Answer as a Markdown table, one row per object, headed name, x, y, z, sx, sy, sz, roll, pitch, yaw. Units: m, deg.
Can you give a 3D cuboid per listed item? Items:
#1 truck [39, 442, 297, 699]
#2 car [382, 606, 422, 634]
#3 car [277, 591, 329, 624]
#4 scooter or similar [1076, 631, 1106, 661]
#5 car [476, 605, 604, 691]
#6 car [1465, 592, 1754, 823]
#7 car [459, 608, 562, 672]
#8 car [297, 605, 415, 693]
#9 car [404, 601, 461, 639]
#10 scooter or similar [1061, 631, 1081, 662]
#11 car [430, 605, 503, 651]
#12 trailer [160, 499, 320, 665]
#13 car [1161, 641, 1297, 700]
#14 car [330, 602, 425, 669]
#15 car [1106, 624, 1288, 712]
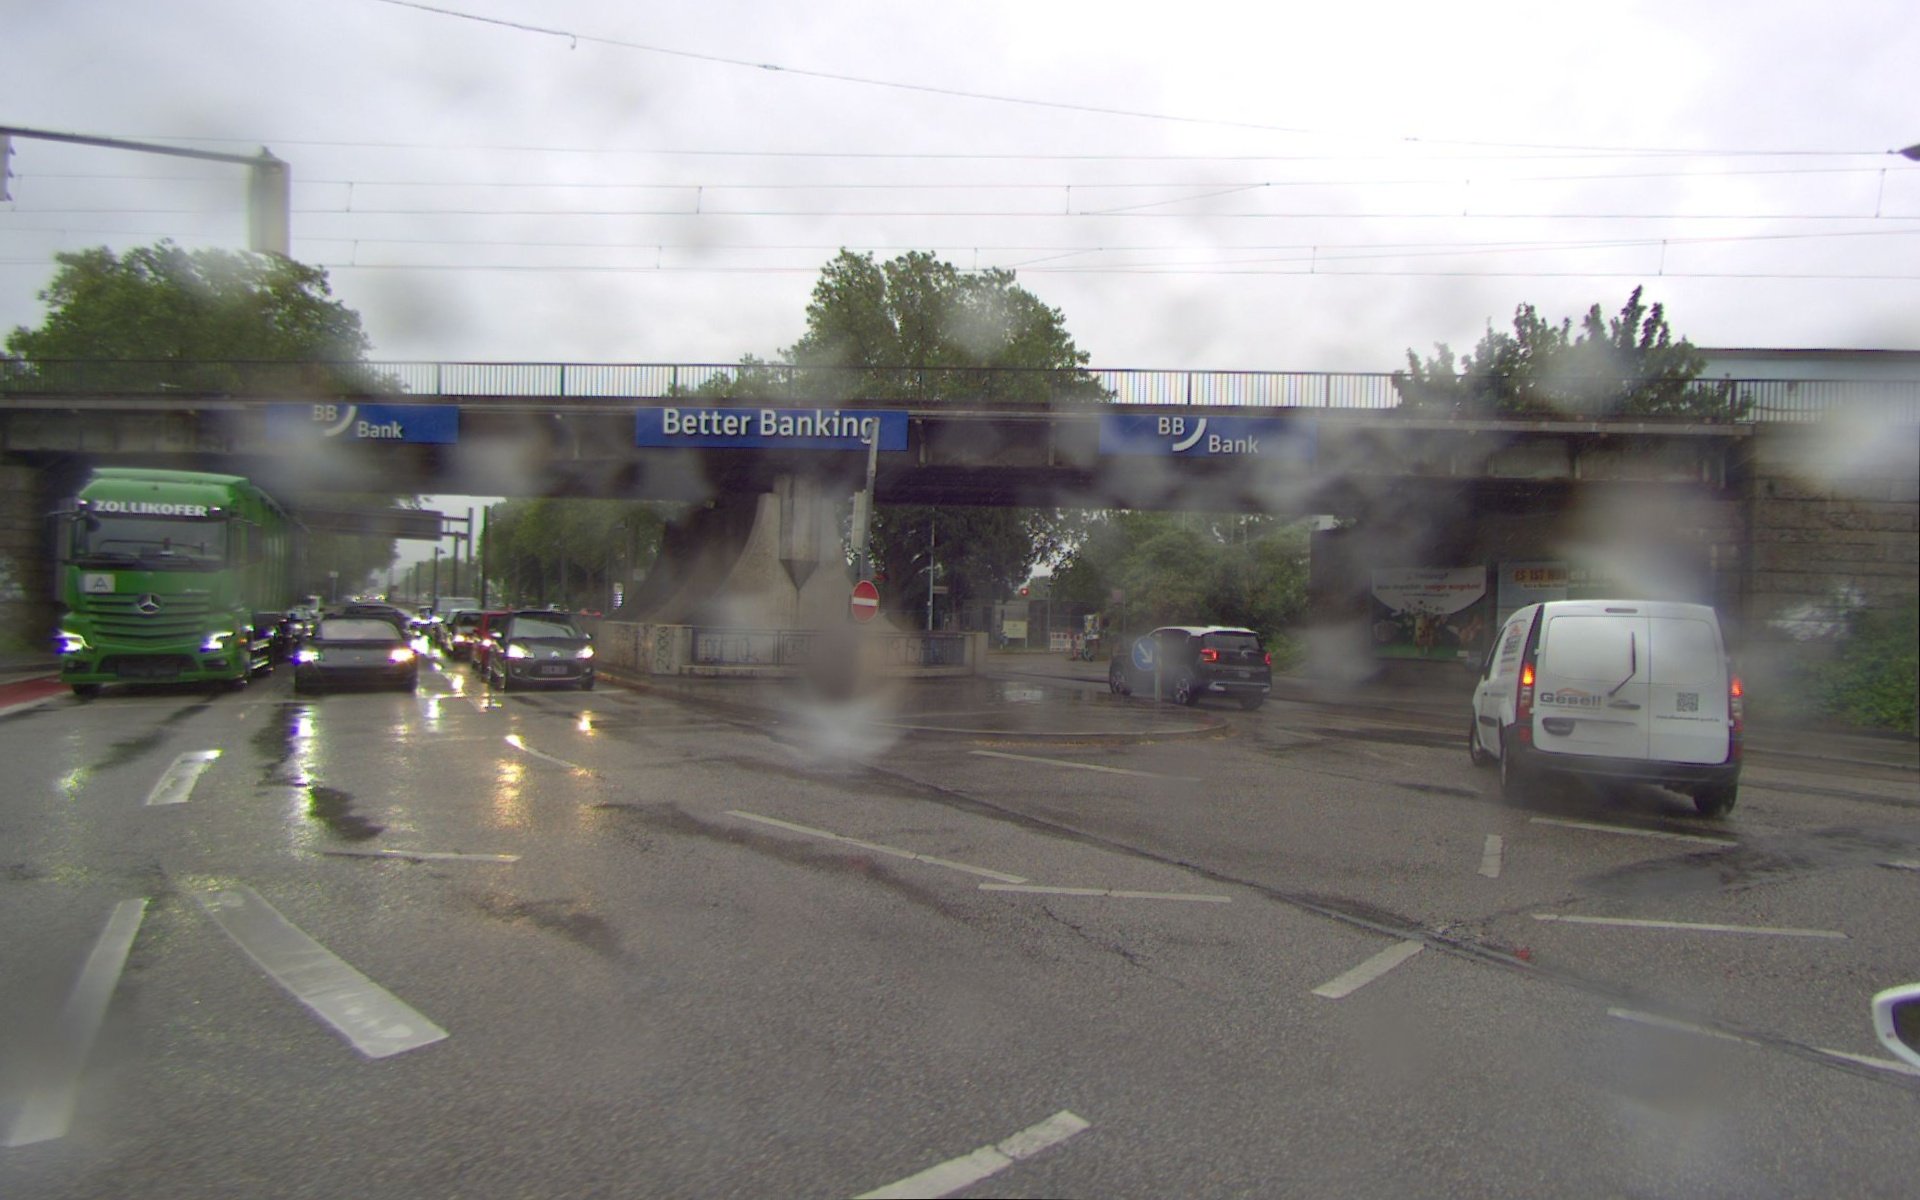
| name | x | y | z | sx | sy | sz | roll | pitch | yaw |
| --- | --- | --- | --- | --- | --- | --- | --- | --- | --- |
| truck | -15.682 | -0.388 | 20.713 | 2.657 | 4.001 | 10.112 | 2 | -1 | -30 |
| car | -33.804 | 1.196 | 60.839 | 1.844 | 1.595 | 3.652 | 2 | -2 | -32 |
| car | -32.213 | 0.385 | 49.340 | 1.806 | 1.490 | 3.969 | 2 | -2 | -29 |
| scooter or similar | 5.525 | 1.935 | 42.511 | 0.759 | 1.194 | 1.544 | -1 | 0 | -13 |
| car | -8.640 | 0.922 | 20.474 | 1.643 | 1.566 | 3.962 | 2 | -2 | -34 |
| car | 6.184 | 0.919 | 10.060 | 1.728 | 1.801 | 3.999 | 0 | -2 | 23 |
| car | -11.455 | 0.979 | 25.484 | 1.801 | 1.471 | 3.964 | 2 | -2 | -32 |
| car | -11.631 | 0.890 | 19.595 | 1.725 | 1.505 | 4.650 | 2 | -2 | -29 |
| car | -22.511 | 0.847 | 42.824 | 1.808 | 1.490 | 3.964 | 2 | -2 | -32 |
| scooter or similar | 4.897 | 2.029 | 44.151 | 0.696 | 1.327 | 1.559 | -3 | -2 | 10 |
| car | -18.568 | 1.034 | 37.708 | 1.979 | 1.595 | 3.964 | 2 | -2 | -32 |
| trailer | -20.285 | -0.385 | 28.777 | 2.657 | 4.039 | 8.454 | 2 | -1 | -29 |
| car | 6.737 | 1.735 | 25.400 | 1.663 | 1.300 | 3.239 | 2 | -1 | -24 |
| car | -15.261 | 0.904 | 26.270 | 1.978 | 1.595 | 3.965 | 2 | -2 | -32 |
| car | 4.823 | 1.347 | 21.032 | 1.893 | 1.630 | 3.984 | 2 | -1 | -18 |
